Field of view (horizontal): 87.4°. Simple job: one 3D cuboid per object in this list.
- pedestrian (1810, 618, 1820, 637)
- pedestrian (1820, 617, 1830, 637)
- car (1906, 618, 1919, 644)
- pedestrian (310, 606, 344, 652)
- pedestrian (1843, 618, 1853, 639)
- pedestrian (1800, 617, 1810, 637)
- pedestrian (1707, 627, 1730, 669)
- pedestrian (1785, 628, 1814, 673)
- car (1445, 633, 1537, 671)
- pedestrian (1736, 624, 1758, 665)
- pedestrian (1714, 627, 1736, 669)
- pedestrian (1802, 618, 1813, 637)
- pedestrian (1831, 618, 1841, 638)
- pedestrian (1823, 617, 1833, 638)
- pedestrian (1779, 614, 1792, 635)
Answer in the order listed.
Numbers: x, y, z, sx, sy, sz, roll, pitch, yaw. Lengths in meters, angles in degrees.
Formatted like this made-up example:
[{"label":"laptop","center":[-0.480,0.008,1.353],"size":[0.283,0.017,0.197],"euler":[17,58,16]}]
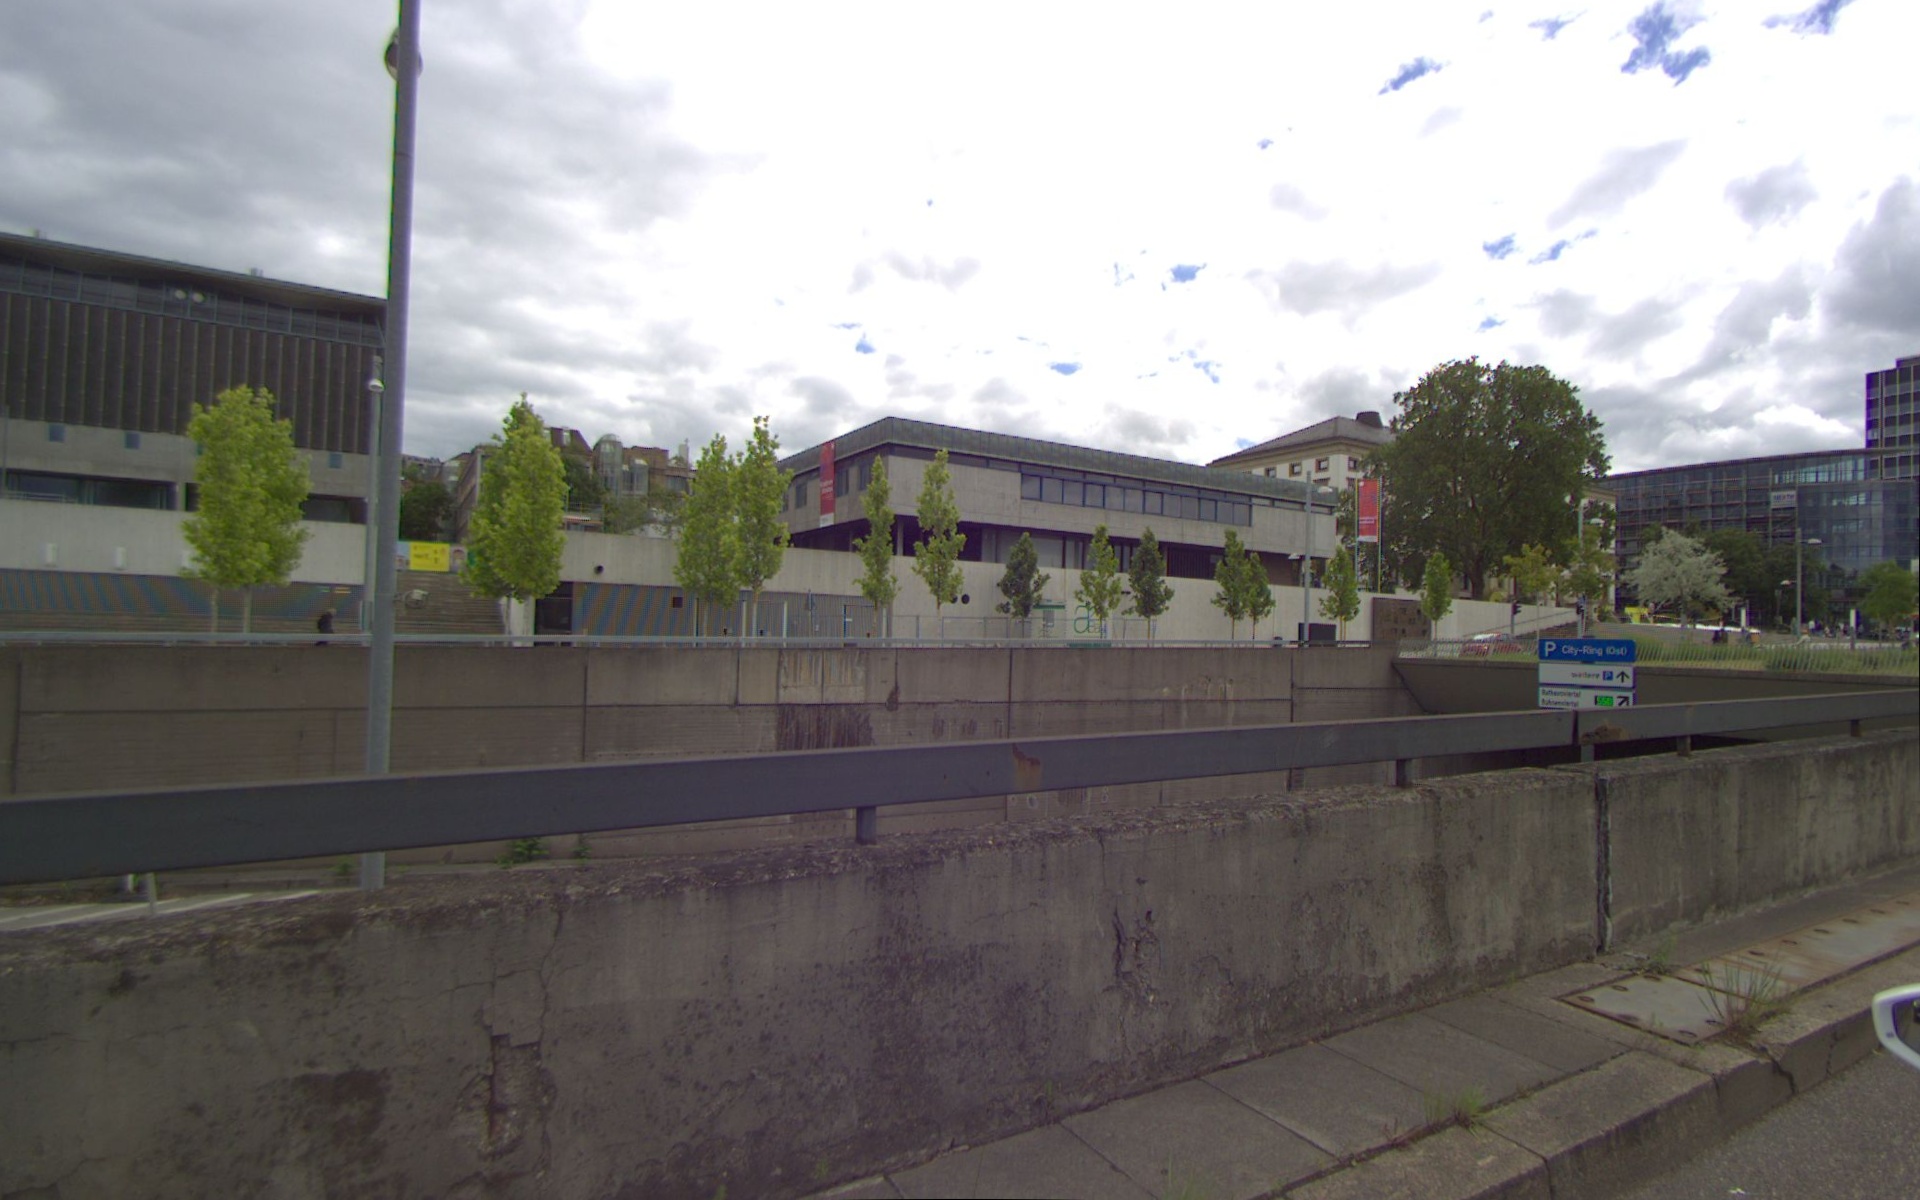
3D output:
[{"label":"pedestrian","center":[89.813,2.870,105.524],"size":[0.730,2.040,0.789],"euler":[-1,-1,40]},{"label":"pedestrian","center":[88.066,2.768,102.253],"size":[0.730,2.040,1.109],"euler":[-1,-1,40]},{"label":"car","center":[80.193,2.554,82.763],"size":[4.635,2.040,1.984],"euler":[0,0,-30]},{"label":"pedestrian","center":[-23.441,1.063,37.219],"size":[0.777,1.664,0.740],"euler":[0,-1,-3]},{"label":"pedestrian","center":[90.462,2.901,102.305],"size":[0.730,2.040,1.109],"euler":[-1,-1,40]},{"label":"pedestrian","center":[89.240,2.842,106.068],"size":[0.730,2.040,0.789],"euler":[-1,-1,40]},{"label":"pedestrian","center":[37.070,2.335,49.104],"size":[0.779,2.040,0.834],"euler":[-1,-1,33]},{"label":"pedestrian","center":[39.113,2.352,46.809],"size":[0.622,2.040,0.856],"euler":[0,-1,-30]},{"label":"car","center":[27.549,2.666,52.088],"size":[4.682,1.879,2.164],"euler":[1,-1,-31]},{"label":"pedestrian","center":[41.160,2.315,52.545],"size":[0.623,2.041,0.724],"euler":[-5,2,-37]},{"label":"pedestrian","center":[37.747,2.371,49.577],"size":[0.779,2.040,0.834],"euler":[-1,-1,33]},{"label":"pedestrian","center":[91.775,2.956,108.764],"size":[0.783,2.040,0.735],"euler":[0,-1,-29]},{"label":"pedestrian","center":[88.741,2.801,101.723],"size":[0.730,2.040,0.789],"euler":[-1,-1,40]},{"label":"pedestrian","center":[88.959,2.817,102.932],"size":[0.730,2.040,0.789],"euler":[-1,-1,40]},{"label":"pedestrian","center":[81.703,2.434,99.371],"size":[1.103,2.040,0.733],"euler":[0,-1,-35]}]
